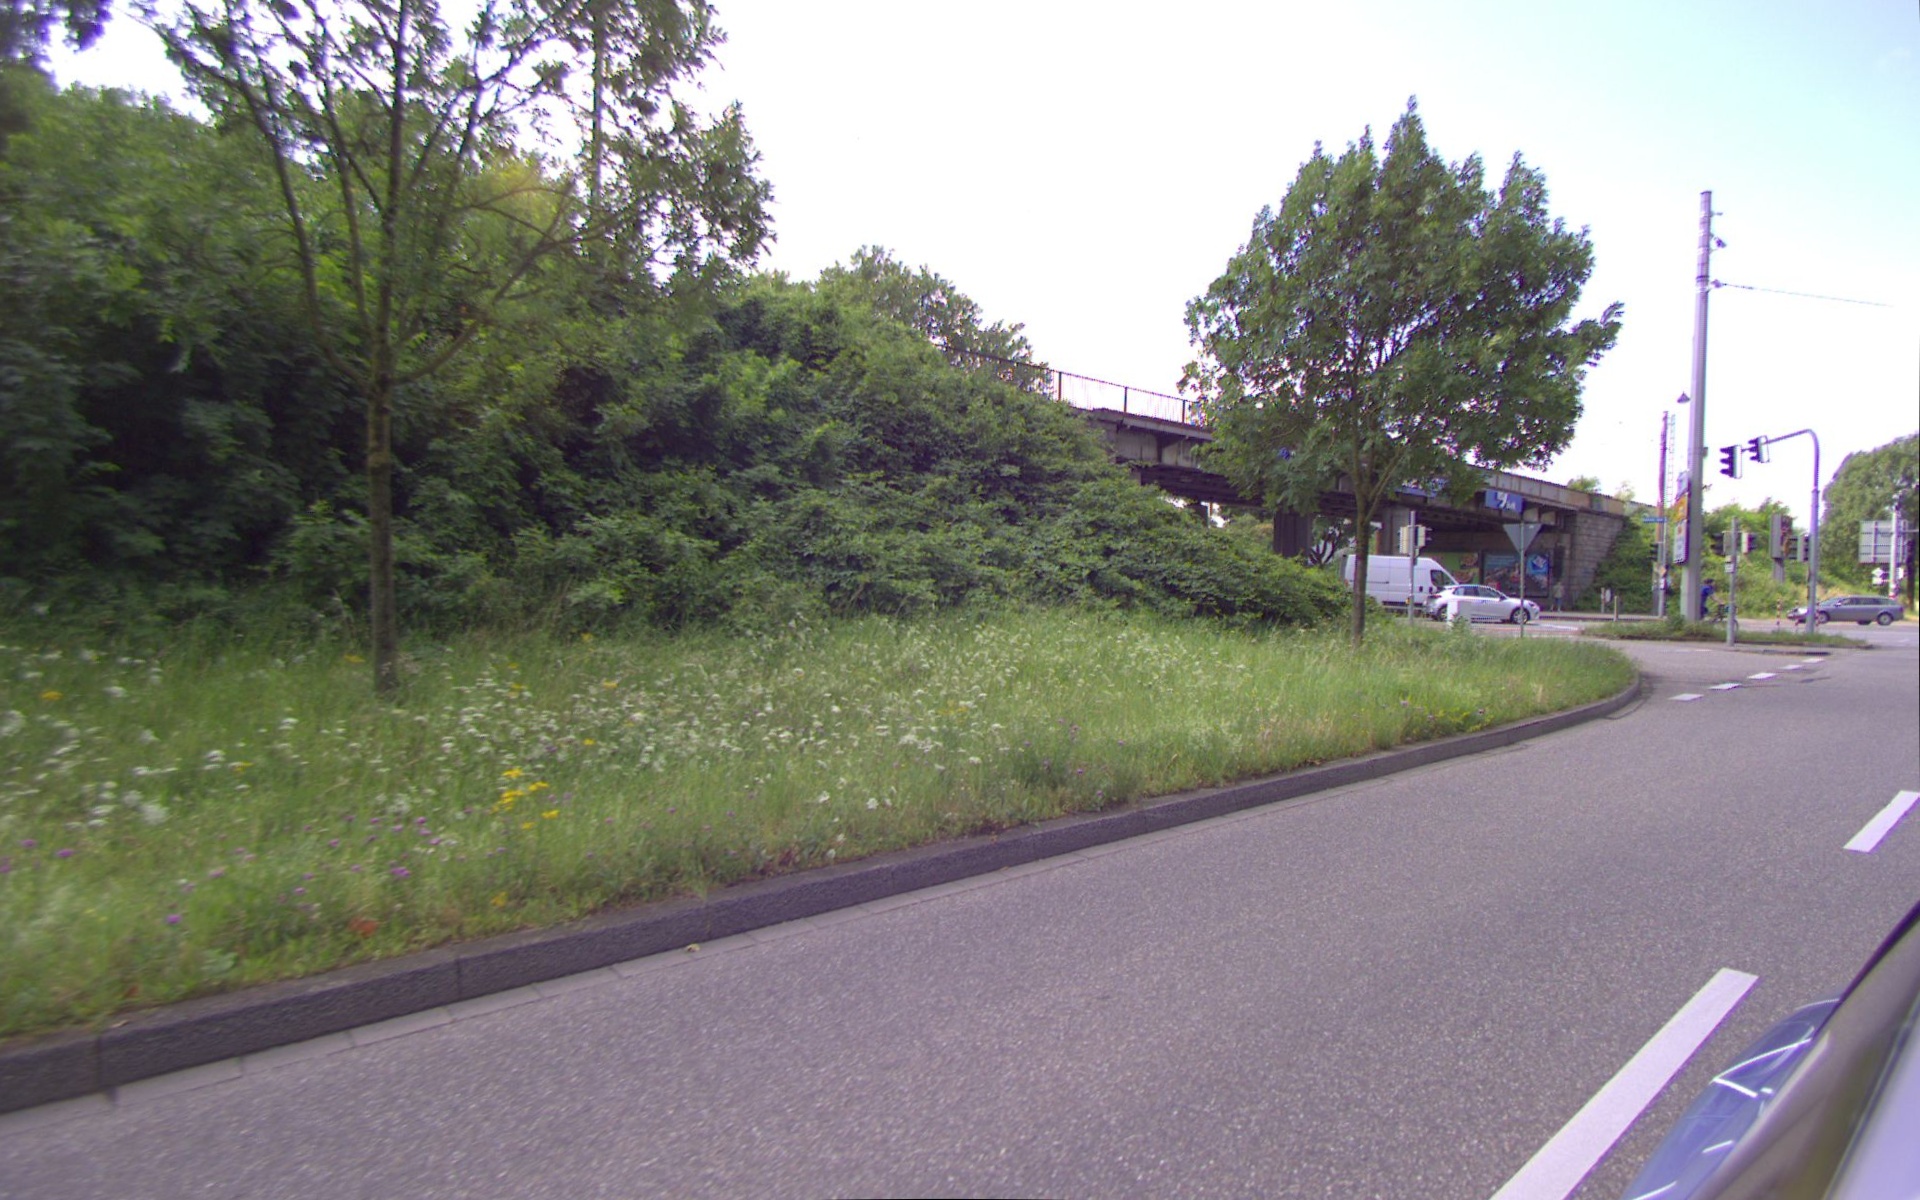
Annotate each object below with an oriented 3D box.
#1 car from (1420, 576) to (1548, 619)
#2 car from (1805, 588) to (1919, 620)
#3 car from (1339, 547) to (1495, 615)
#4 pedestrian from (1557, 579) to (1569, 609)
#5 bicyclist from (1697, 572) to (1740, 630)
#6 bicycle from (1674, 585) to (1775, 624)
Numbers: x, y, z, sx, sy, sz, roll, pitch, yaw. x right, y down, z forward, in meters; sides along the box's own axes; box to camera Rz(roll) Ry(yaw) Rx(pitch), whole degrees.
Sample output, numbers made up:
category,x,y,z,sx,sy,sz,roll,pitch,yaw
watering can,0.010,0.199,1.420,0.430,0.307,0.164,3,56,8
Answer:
category,x,y,z,sx,sy,sz,roll,pitch,yaw
car,19.748,-0.107,38.276,3.939,1.494,1.702,1,3,13
car,45.072,0.193,50.561,3.941,1.482,1.765,-1,0,14
car,18.819,-0.807,41.967,5.546,2.555,2.257,-1,5,16
pedestrian,35.183,-0.348,59.017,0.604,1.671,0.685,0,3,31
bicyclist,23.126,0.022,30.870,0.814,1.698,0.840,0,4,21
bicycle,23.252,0.121,30.831,2.291,1.106,0.840,0,4,22
